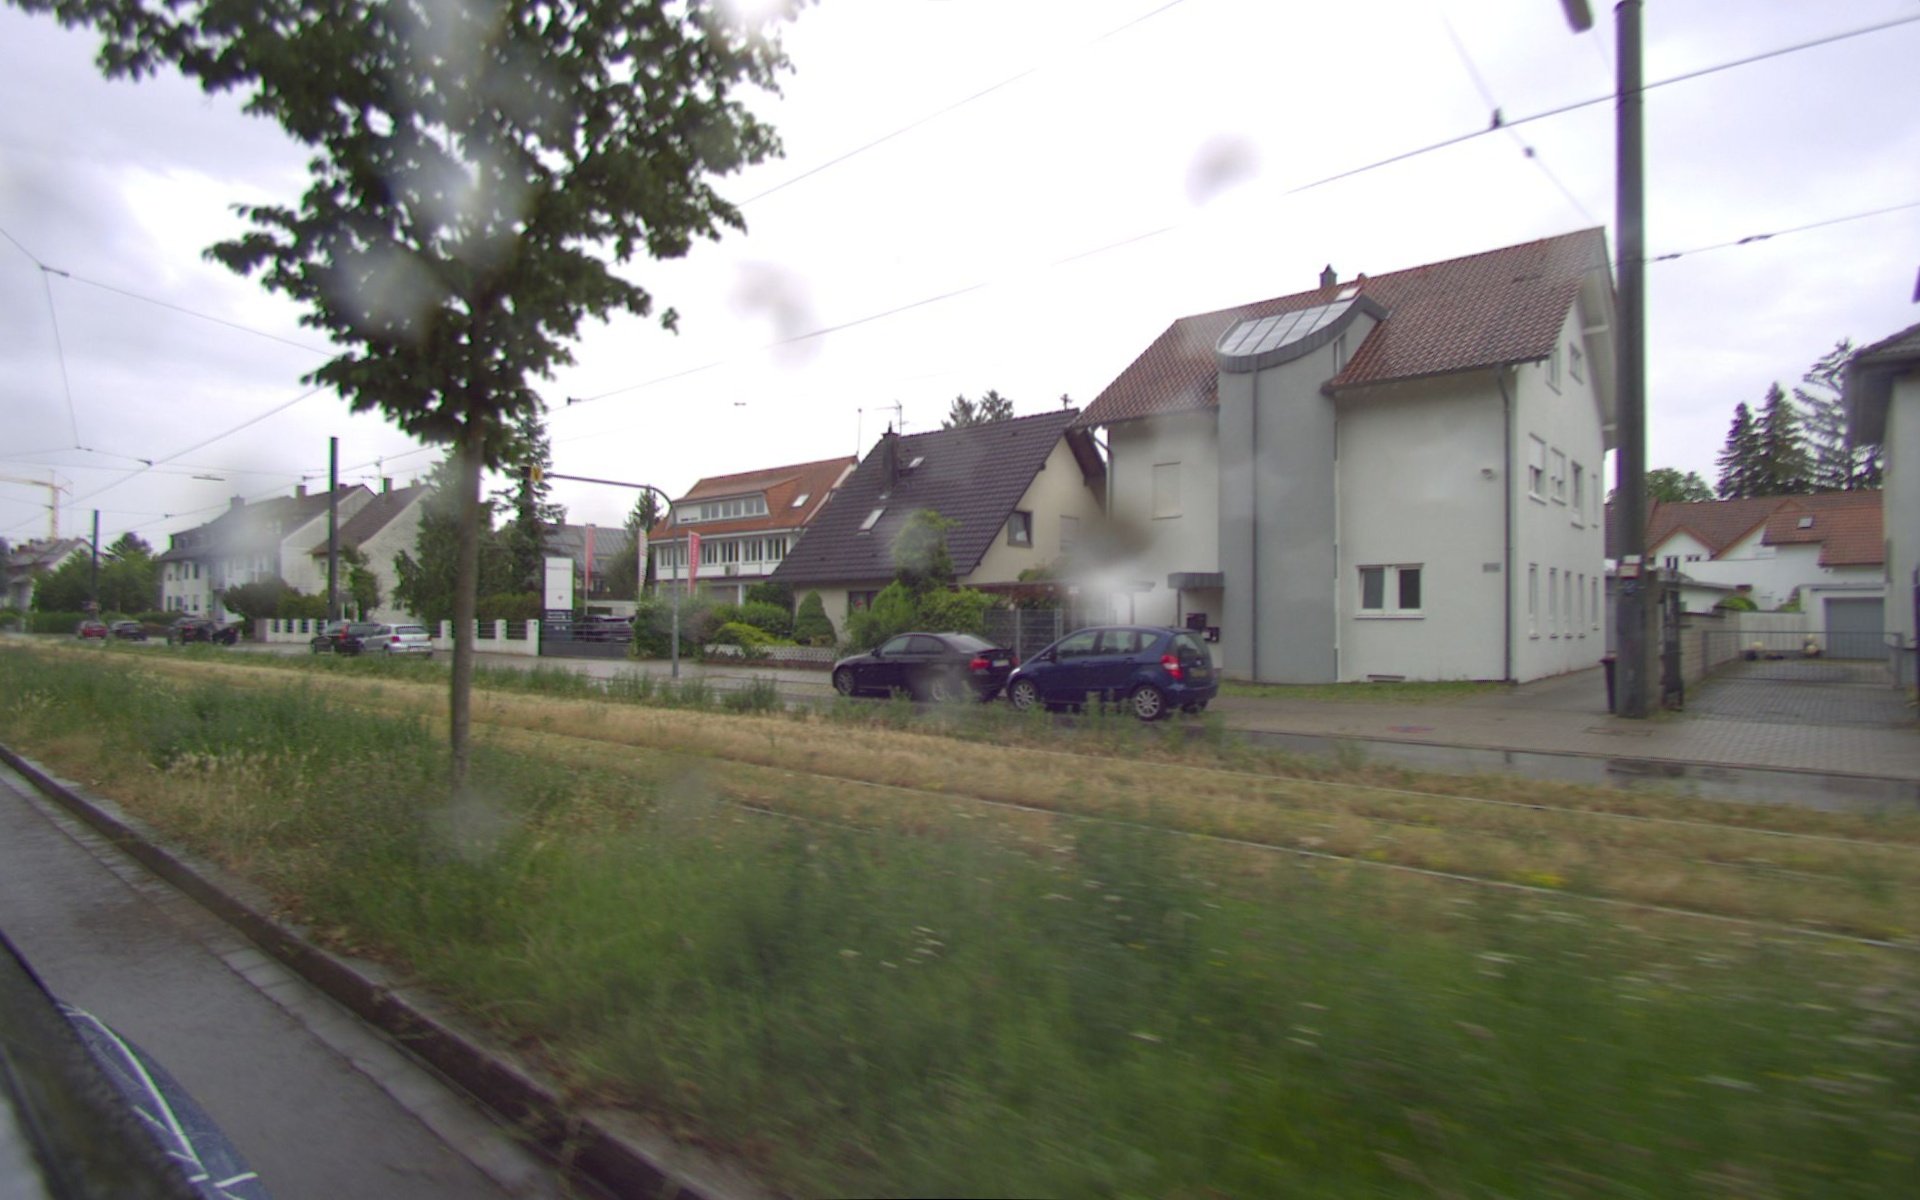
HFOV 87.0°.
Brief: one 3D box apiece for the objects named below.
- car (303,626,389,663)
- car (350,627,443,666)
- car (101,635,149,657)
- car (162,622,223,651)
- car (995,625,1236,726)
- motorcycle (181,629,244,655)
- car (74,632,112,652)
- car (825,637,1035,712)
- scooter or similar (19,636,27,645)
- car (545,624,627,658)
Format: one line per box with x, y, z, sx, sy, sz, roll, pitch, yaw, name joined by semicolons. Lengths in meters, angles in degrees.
-26.612;1.916;43.817;4.530;1.467;1.972;-2;-1;42;car
-22.570;1.827;40.489;3.968;1.421;1.973;-2;-1;40;car
-59.304;3.221;71.862;4.760;1.421;1.972;-2;-1;42;car
-46.500;2.167;61.293;4.382;1.687;1.974;-1;-1;39;car
2.729;1.267;18.158;3.867;1.562;1.854;-2;-1;41;car
-42.792;2.382;57.956;2.645;1.421;1.269;0;0;-7;motorcycle
-68.105;3.282;79.492;3.999;1.468;1.778;-2;-1;42;car
-0.712;1.491;21.373;4.239;1.361;1.972;-2;-1;42;car
-98.338;4.233;106.185;1.255;0.917;0.343;-1;-3;35;scooter or similar
-16.664;1.819;45.037;3.968;1.421;1.681;-2;-1;40;car
